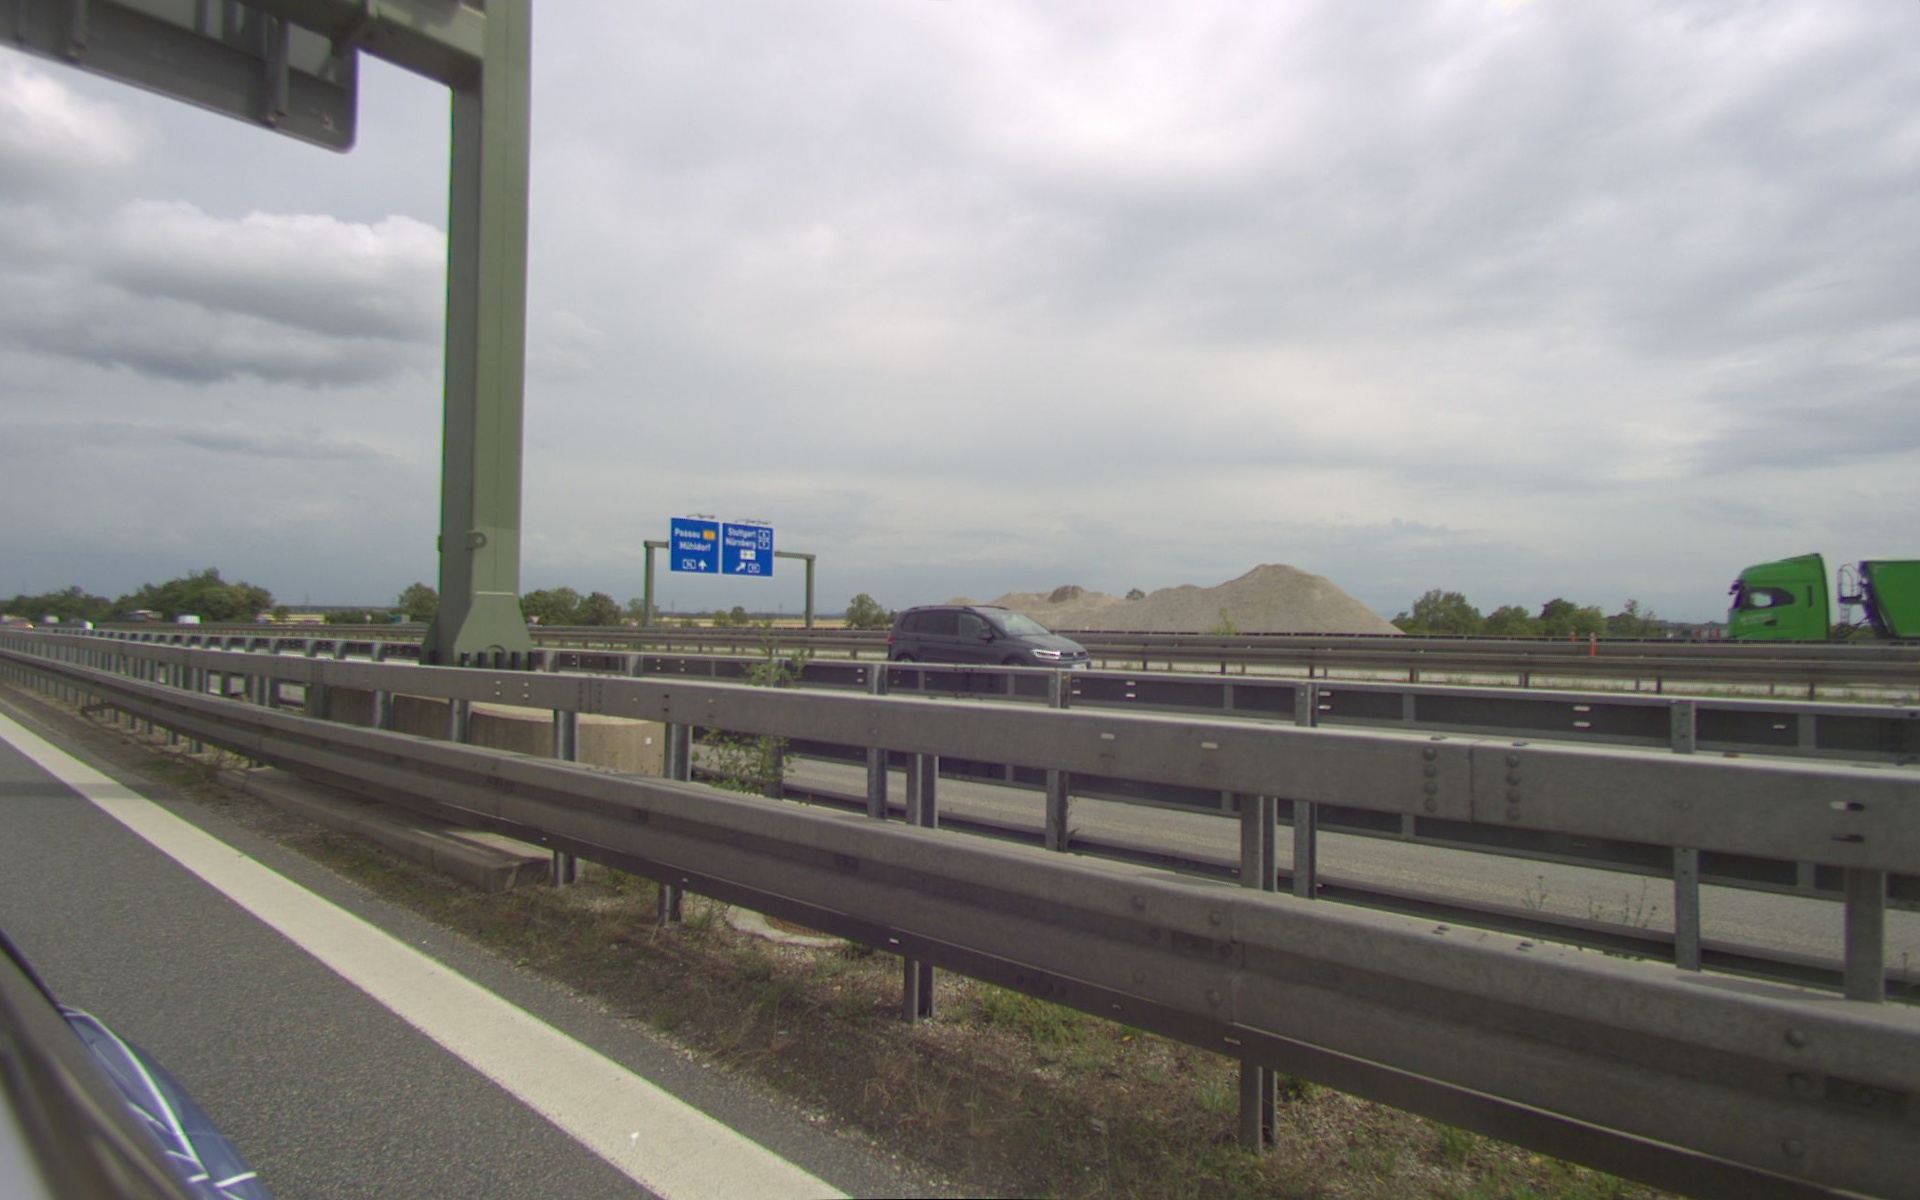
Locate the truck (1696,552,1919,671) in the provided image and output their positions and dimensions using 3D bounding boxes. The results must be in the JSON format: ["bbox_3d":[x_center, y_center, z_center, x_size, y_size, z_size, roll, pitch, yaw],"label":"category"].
[{"bbox_3d":[28.339,0.369,33.739,5.891,3.636,3.010,-1,-1,41],"label":"truck"}]

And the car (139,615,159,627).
[{"bbox_3d":[-140.949,3.646,175.862,3.994,1.874,1.809,-1,0,38],"label":"car"}]

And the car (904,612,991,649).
[{"bbox_3d":[-0.850,1.901,64.287,5.514,2.240,2.173,-1,0,41],"label":"car"}]

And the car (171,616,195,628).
[{"bbox_3d":[-122.824,3.501,160.017,4.747,1.874,2.080,-1,0,40],"label":"car"}]

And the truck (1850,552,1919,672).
[{"bbox_3d":[33.087,0.321,29.648,10.431,3.662,2.982,-1,0,41],"label":"truck"}]

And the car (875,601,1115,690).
[{"bbox_3d":[0.603,0.834,20.059,4.612,1.558,1.861,-1,0,41],"label":"car"}]
